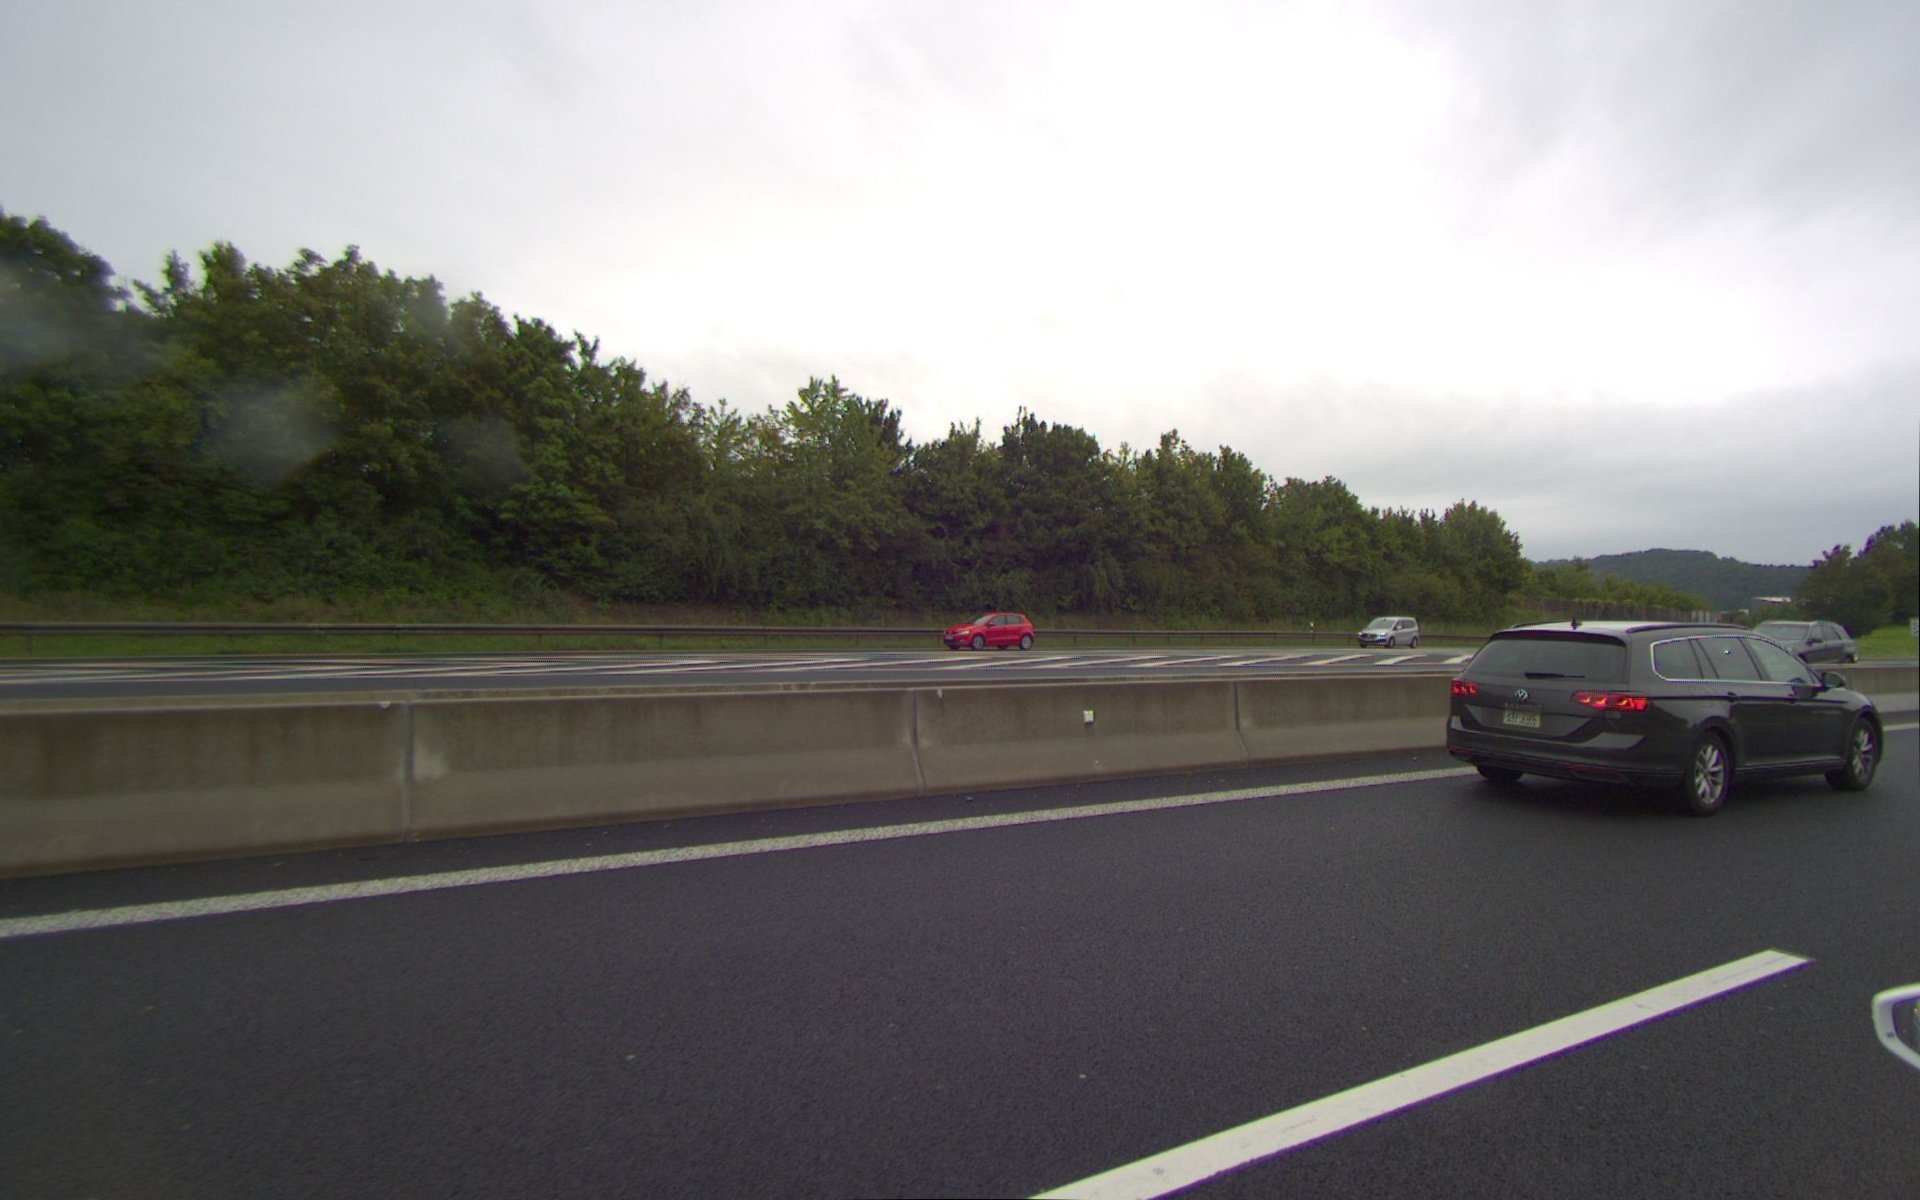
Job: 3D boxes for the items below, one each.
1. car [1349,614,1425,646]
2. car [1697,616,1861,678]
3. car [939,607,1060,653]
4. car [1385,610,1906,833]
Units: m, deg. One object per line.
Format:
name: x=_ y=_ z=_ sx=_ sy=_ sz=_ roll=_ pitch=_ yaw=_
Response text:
car: x=24.571 y=1.720 z=57.747 sx=4.527 sy=1.718 sz=2.163 roll=1 pitch=-1 yaw=-38
car: x=24.938 y=1.390 z=30.567 sx=4.671 sy=1.718 sz=2.172 roll=1 pitch=-1 yaw=-27
car: x=1.606 y=1.194 z=40.088 sx=4.589 sy=1.718 sz=2.162 roll=1 pitch=-1 yaw=-39
car: x=6.167 y=0.902 z=8.899 sx=4.793 sy=1.517 sz=1.892 roll=2 pitch=-1 yaw=-29
